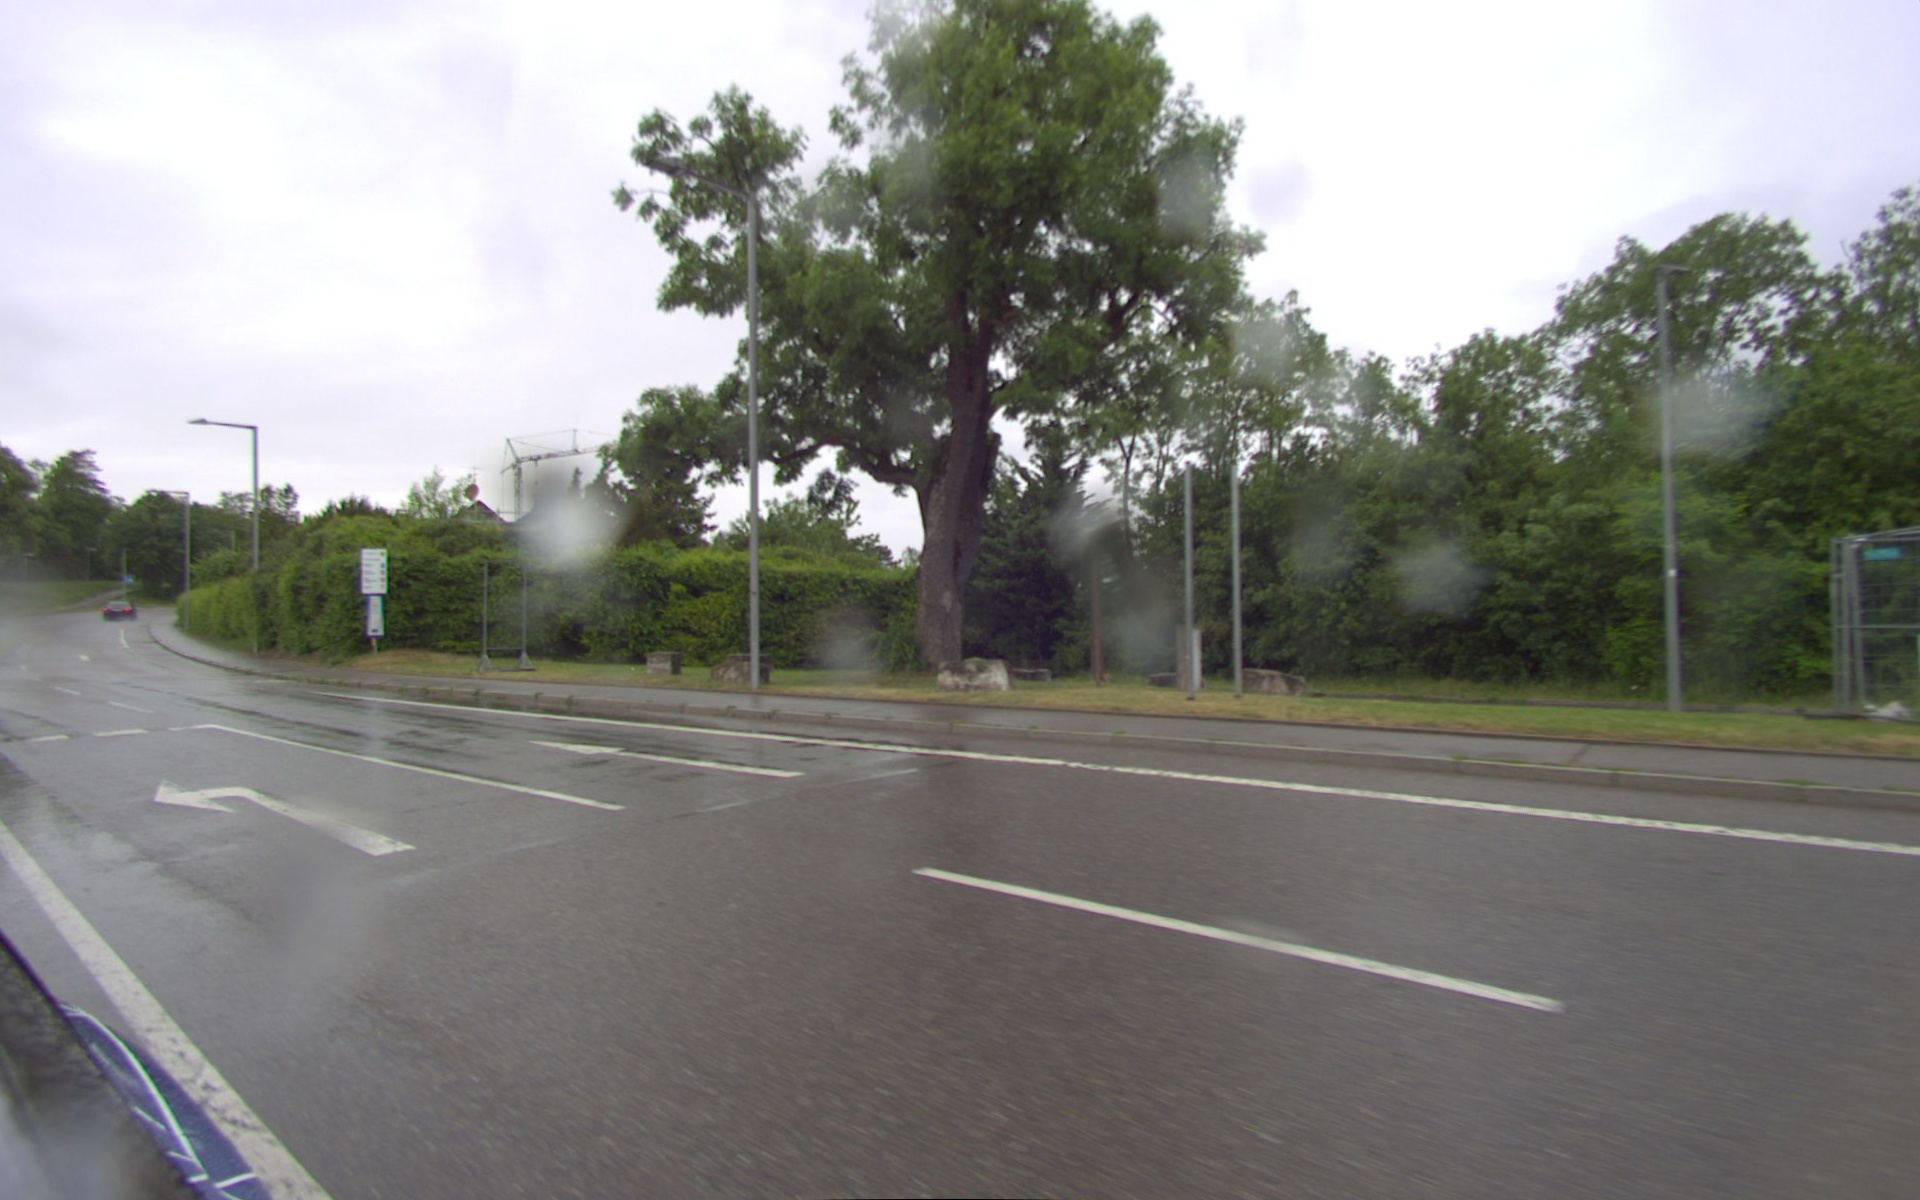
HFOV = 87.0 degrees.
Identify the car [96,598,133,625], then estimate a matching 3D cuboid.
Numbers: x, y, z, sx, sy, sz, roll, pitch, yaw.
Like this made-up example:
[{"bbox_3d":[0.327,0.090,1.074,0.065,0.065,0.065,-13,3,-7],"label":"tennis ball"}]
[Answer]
[{"bbox_3d":[-65.630,0.901,78.599,1.936,2.029,4.009,0,0,-36],"label":"car"}]
